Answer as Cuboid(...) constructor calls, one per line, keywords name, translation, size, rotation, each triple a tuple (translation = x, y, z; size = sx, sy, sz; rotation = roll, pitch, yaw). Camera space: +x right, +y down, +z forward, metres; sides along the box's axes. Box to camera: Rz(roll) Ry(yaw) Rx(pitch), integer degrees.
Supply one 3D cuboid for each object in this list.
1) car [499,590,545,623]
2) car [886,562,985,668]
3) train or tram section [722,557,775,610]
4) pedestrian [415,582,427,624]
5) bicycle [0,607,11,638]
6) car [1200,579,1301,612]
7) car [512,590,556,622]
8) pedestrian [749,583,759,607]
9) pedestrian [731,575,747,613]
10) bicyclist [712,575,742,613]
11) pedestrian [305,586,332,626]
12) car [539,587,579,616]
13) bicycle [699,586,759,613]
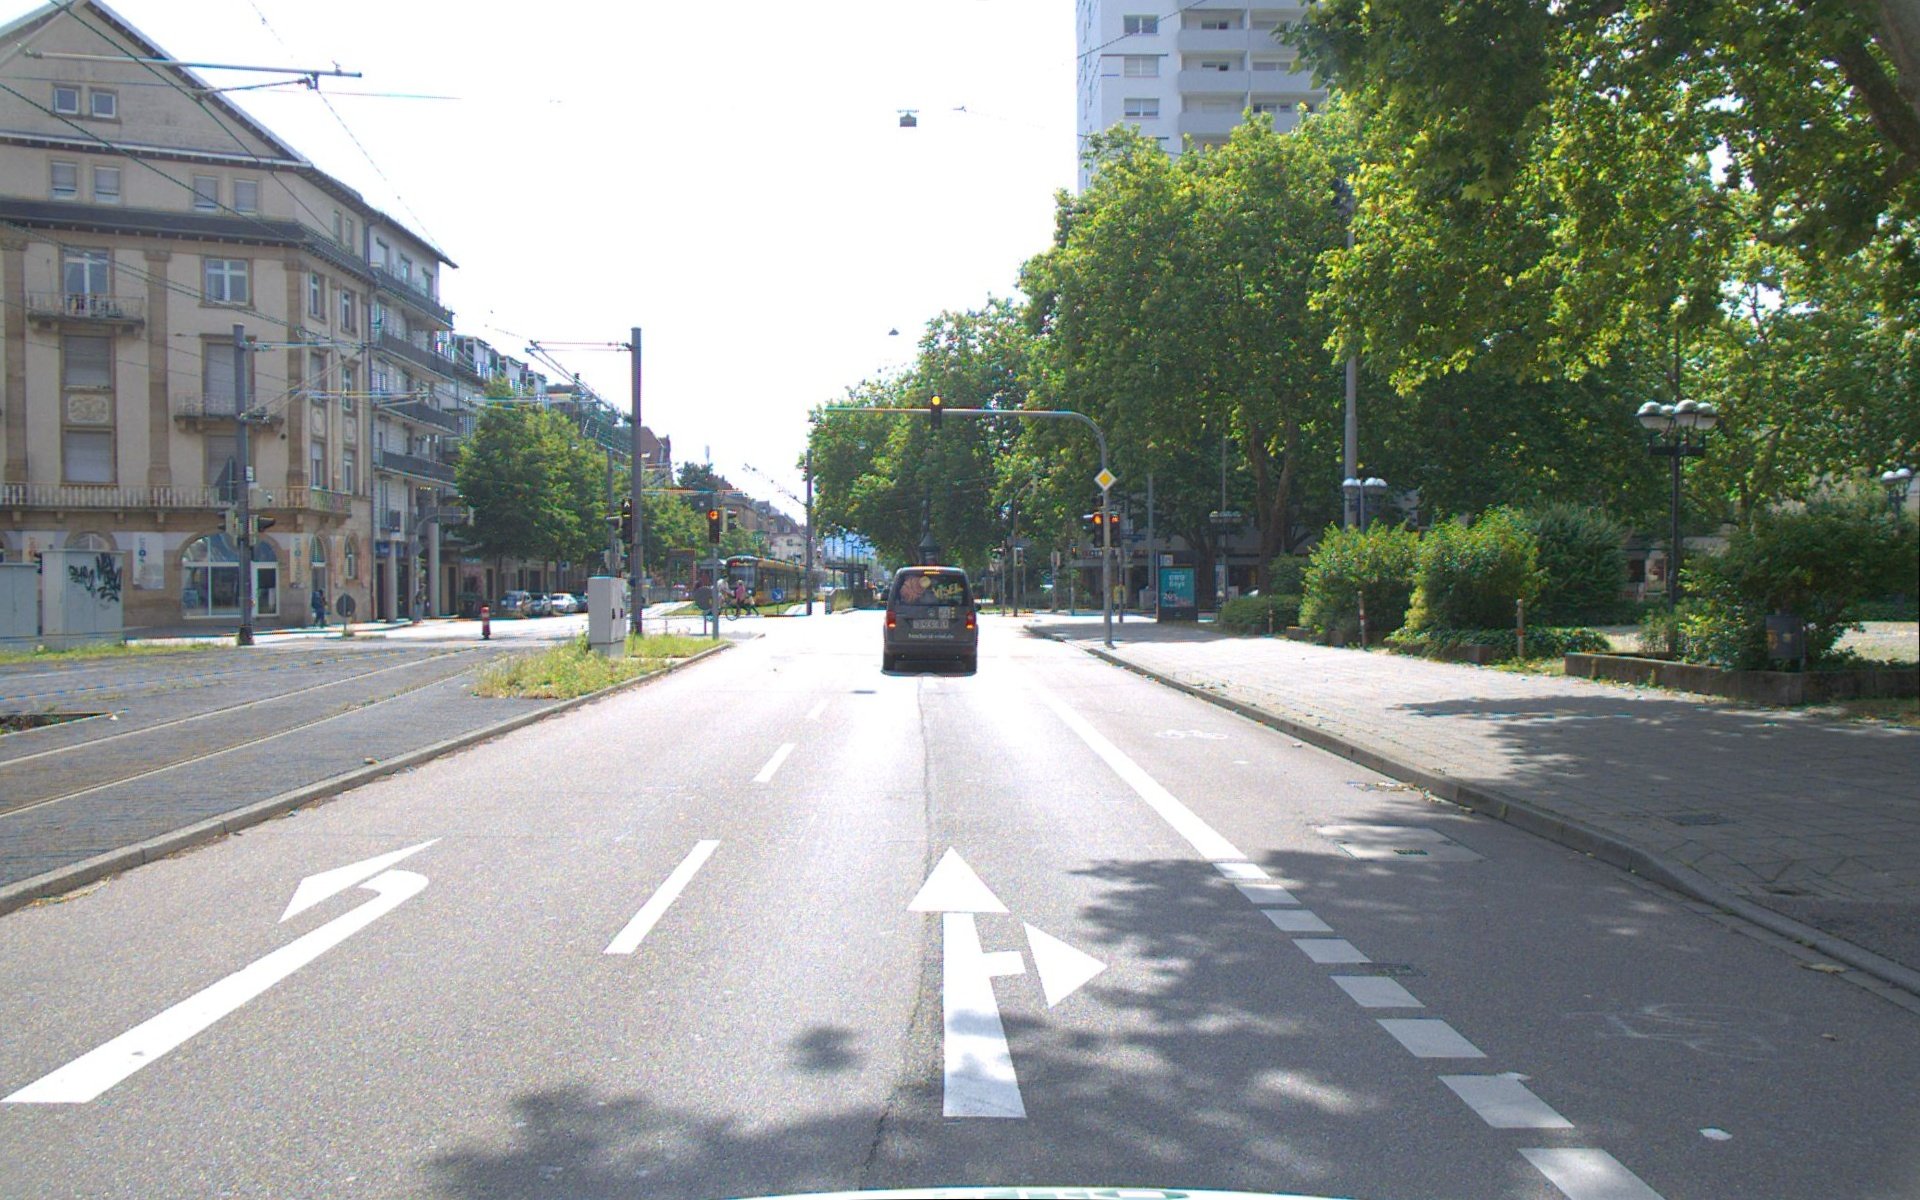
Cuboid(name="car", translation=(-27.960, 0.401, 105.641), size=(1.953, 2.049, 3.999), rotation=(-1, 1, -1))
Cuboid(name="car", translation=(-0.456, 0.250, 30.740), size=(1.715, 1.840, 3.474), rotation=(1, 1, -1))
Cuboid(name="train or tram section", translation=(-14.476, -1.149, 114.207), size=(2.195, 3.389, 12.969), rotation=(-1, 1, -1))
Cuboid(name="pedestrian", translation=(-26.393, 0.139, 80.956), size=(0.468, 2.049, 0.419), rotation=(-1, 0, -7))
Cuboid(name="bicycle", translation=(-34.840, 0.822, 58.125), size=(2.530, 1.071, 0.676), rotation=(-1, 1, -30))
Cuboid(name="car", translation=(13.241, -0.204, 75.373), size=(4.424, 1.414, 1.693), rotation=(-1, 1, -26))
Cuboid(name="car", translation=(-28.449, 0.360, 110.598), size=(1.953, 2.049, 3.999), rotation=(-1, 1, -1))
Cuboid(name="pedestrian", translation=(-10.055, -0.263, 80.782), size=(0.454, 1.164, 0.435), rotation=(-1, 0, -2))
Cuboid(name="pedestrian", translation=(-10.734, -0.292, 80.377), size=(0.646, 1.815, 0.660), rotation=(-1, 0, -1))
Cuboid(name="bicyclist", translation=(-9.609, -0.245, 68.154), size=(0.976, 1.538, 0.781), rotation=(-1, 1, 15))
Cuboid(name="pedestrian", translation=(-26.401, 0.241, 68.075), size=(0.677, 1.623, 0.862), rotation=(-1, 0, 6))
Cuboid(name="car", translation=(-28.844, 0.076, 119.095), size=(1.953, 2.049, 3.999), rotation=(-1, 1, -1))
Cuboid(name="bicycle", translation=(-9.512, -0.011, 68.139), size=(2.252, 1.066, 0.897), rotation=(-1, 1, 15))
